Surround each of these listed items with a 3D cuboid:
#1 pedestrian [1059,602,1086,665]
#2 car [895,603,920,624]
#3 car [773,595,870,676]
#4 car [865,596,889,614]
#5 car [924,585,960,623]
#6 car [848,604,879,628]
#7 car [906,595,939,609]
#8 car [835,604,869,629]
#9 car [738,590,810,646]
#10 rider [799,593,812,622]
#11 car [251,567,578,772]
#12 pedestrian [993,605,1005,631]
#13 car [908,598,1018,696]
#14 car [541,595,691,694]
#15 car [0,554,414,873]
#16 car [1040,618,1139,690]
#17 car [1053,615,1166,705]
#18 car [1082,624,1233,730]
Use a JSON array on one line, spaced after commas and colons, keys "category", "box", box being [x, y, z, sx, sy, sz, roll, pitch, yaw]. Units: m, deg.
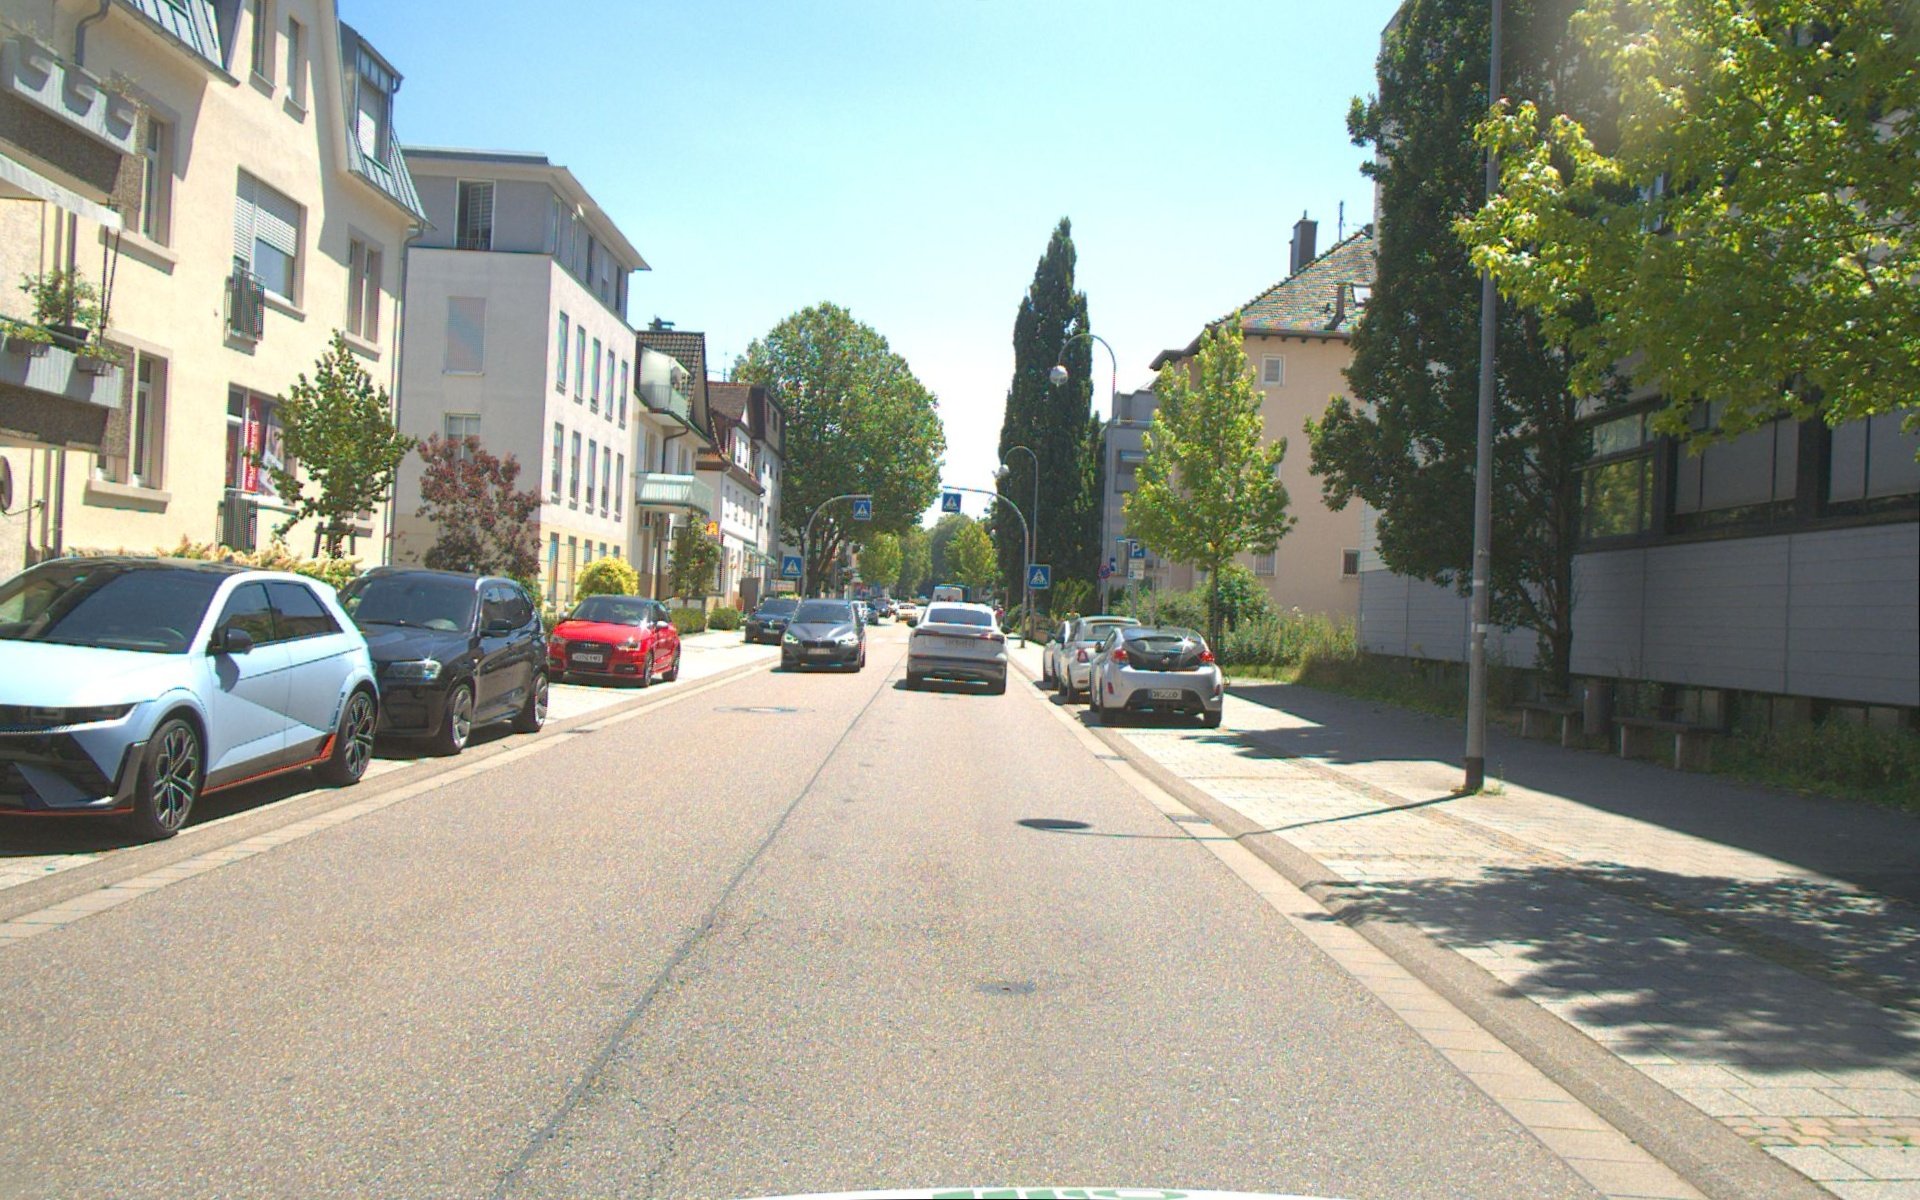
[{"category": "pedestrian", "box": [3.249, 0.952, 47.759, 0.625, 1.789, 0.616, 2, 0, -5]}, {"category": "car", "box": [-4.094, 1.072, 129.028, 1.939, 1.546, 3.999, 2, 0, -2]}, {"category": "car", "box": [-3.115, 0.763, 37.985, 1.934, 1.700, 4.470, 1, 0, -2]}, {"category": "car", "box": [-7.387, 0.424, 147.625, 1.953, 1.546, 3.999, 2, 0, -2]}, {"category": "car", "box": [-1.129, 0.238, 101.341, 2.028, 2.235, 5.135, 2, 0, -2]}, {"category": "car", "box": [-6.571, 1.055, 113.029, 1.953, 1.546, 3.999, 2, 0, -2]}, {"category": "car", "box": [-4.832, 0.293, 213.587, 3.902, 1.680, 2.001, 2, 0, 6]}, {"category": "car", "box": [-6.941, 1.043, 106.684, 1.953, 1.546, 3.999, 2, 0, -2]}, {"category": "car", "box": [-6.169, 0.575, 55.327, 1.886, 1.750, 4.471, 1, 0, 0]}, {"category": "rider", "box": [-8.718, 0.420, 93.495, 0.648, 1.580, 0.661, 2, 0, -1]}, {"category": "car", "box": [-5.285, 0.605, 16.719, 1.690, 1.647, 4.570, 5, 0, 0]}, {"category": "pedestrian", "box": [2.600, 1.196, 111.145, 0.680, 1.767, 0.667, 2, -1, -5]}, {"category": "car", "box": [0.042, 0.864, 32.463, 1.897, 1.642, 4.471, 5, 0, 0]}, {"category": "car", "box": [-5.767, 0.708, 28.139, 1.616, 1.443, 3.905, 4, 0, 0]}, {"category": "car", "box": [-5.409, 0.570, 11.053, 1.887, 1.600, 4.658, 4, 0, 0]}, {"category": "car", "box": [2.736, 1.118, 35.840, 1.691, 1.407, 4.400, 0, 0, -1]}, {"category": "car", "box": [2.726, 1.068, 31.031, 1.625, 1.514, 4.344, 0, 0, -1]}, {"category": "car", "box": [2.932, 1.116, 25.335, 1.824, 1.397, 4.000, 1, 0, 0]}]
